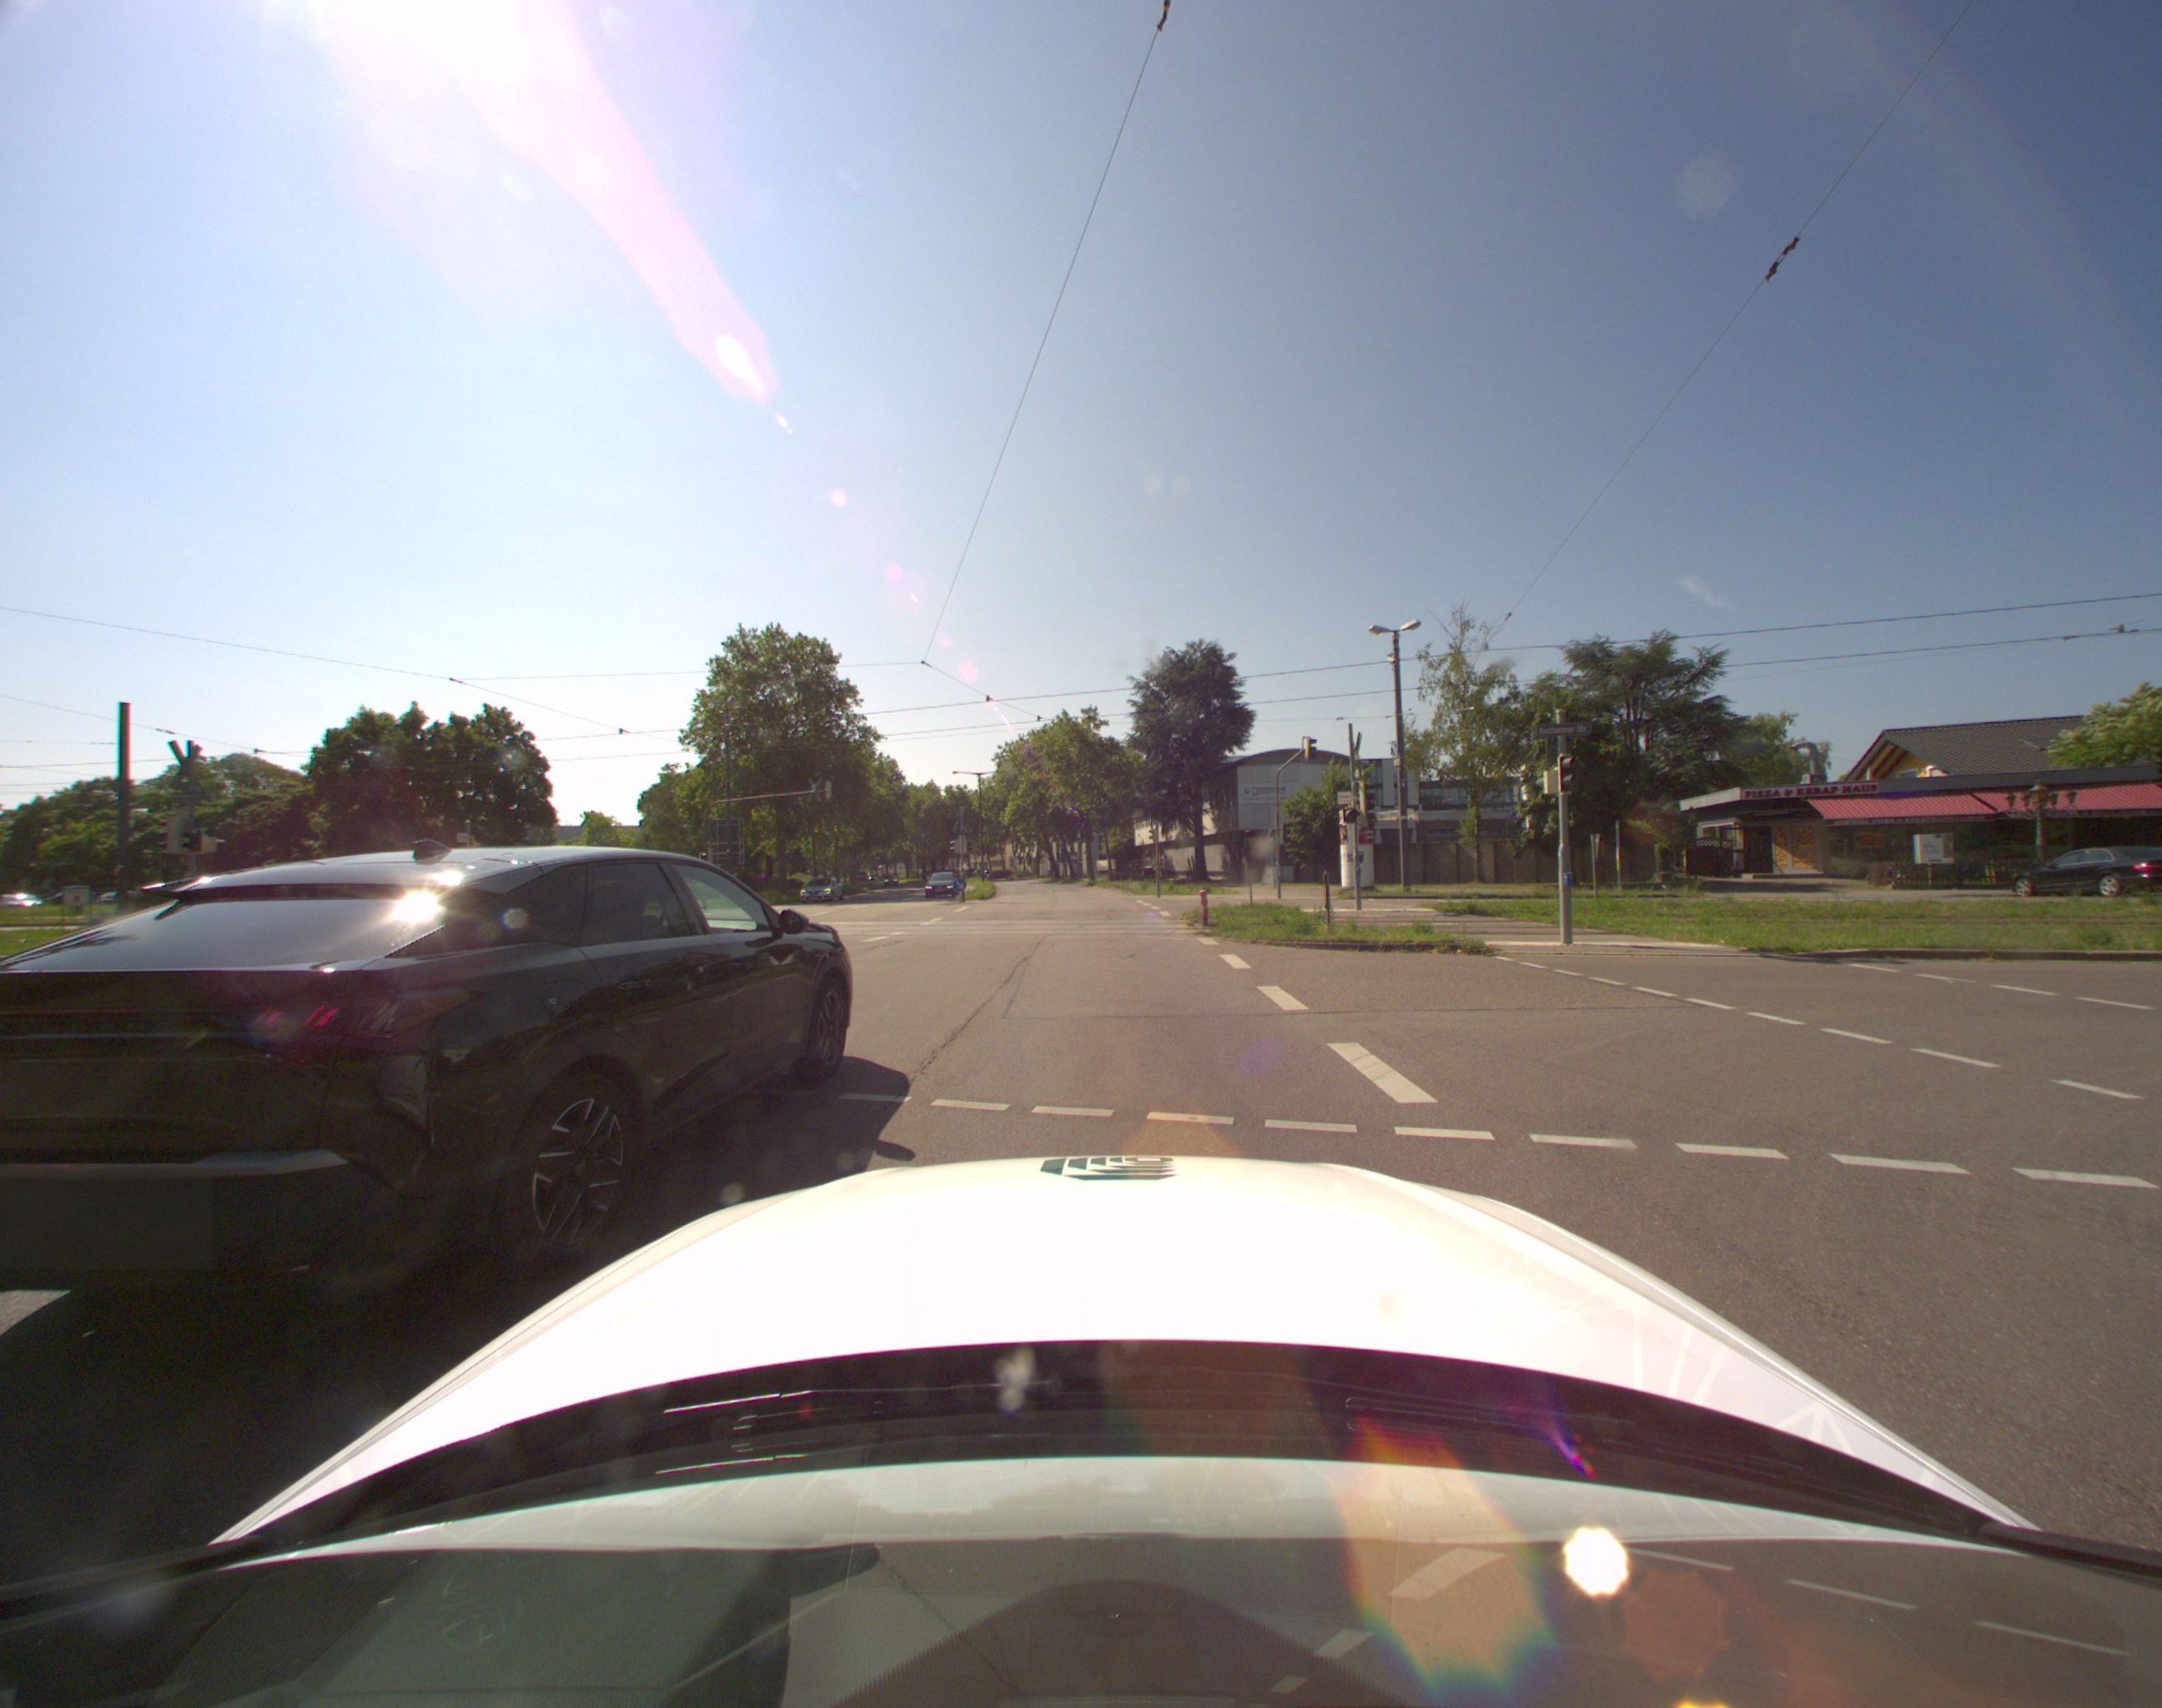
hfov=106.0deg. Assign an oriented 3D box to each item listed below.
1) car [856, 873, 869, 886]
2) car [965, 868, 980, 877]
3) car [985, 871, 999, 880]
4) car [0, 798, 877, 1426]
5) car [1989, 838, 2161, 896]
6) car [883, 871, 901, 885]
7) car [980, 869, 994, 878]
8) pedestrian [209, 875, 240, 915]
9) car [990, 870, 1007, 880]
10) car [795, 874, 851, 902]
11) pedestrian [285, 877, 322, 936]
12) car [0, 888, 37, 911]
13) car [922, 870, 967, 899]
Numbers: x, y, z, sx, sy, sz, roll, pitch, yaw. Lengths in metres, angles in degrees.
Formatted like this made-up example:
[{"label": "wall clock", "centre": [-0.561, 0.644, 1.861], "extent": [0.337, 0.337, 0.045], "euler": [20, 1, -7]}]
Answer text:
[{"label": "car", "centre": [-43.915, 5.145, 163.611], "extent": [2.067, 2.613, 7.170], "euler": [-2, -1, -19]}, {"label": "car", "centre": [-21.286, 3.592, 159.563], "extent": [1.713, 1.669, 4.500], "euler": [-2, -1, -22]}, {"label": "car", "centre": [-15.736, 3.768, 143.111], "extent": [1.711, 1.488, 4.077], "euler": [-2, -1, -17]}, {"label": "car", "centre": [-2.722, 0.728, 4.464], "extent": [1.864, 1.696, 4.439], "euler": [0, -1, 3]}, {"label": "car", "centre": [29.384, 0.377, 23.371], "extent": [2.119, 1.499, 5.142], "euler": [-2, -2, 18]}, {"label": "car", "centre": [-24.031, 3.025, 103.707], "extent": [1.707, 1.589, 4.423], "euler": [-3, -1, -6]}, {"label": "car", "centre": [-17.095, 3.540, 148.327], "extent": [1.711, 1.455, 4.628], "euler": [-2, -1, -17]}, {"label": "pedestrian", "centre": [-44.270, 2.102, 42.093], "extent": [0.794, 2.014, 0.709], "euler": [-1, -1, -12]}, {"label": "car", "centre": [-14.032, 3.567, 138.039], "extent": [1.713, 1.487, 4.685], "euler": [-3, 0, -21]}, {"label": "car", "centre": [-15.178, 1.960, 48.135], "extent": [1.687, 1.508, 4.662], "euler": [-2, -1, 2]}, {"label": "pedestrian", "centre": [-21.304, 1.420, 22.313], "extent": [0.361, 1.561, 0.673], "euler": [-2, -1, 38]}, {"label": "car", "centre": [-70.823, 3.019, 53.961], "extent": [3.299, 1.446, 1.457], "euler": [-2, -2, 28]}, {"label": "car", "centre": [-7.905, 1.734, 47.429], "extent": [1.687, 1.508, 4.133], "euler": [-2, -1, 3]}]
